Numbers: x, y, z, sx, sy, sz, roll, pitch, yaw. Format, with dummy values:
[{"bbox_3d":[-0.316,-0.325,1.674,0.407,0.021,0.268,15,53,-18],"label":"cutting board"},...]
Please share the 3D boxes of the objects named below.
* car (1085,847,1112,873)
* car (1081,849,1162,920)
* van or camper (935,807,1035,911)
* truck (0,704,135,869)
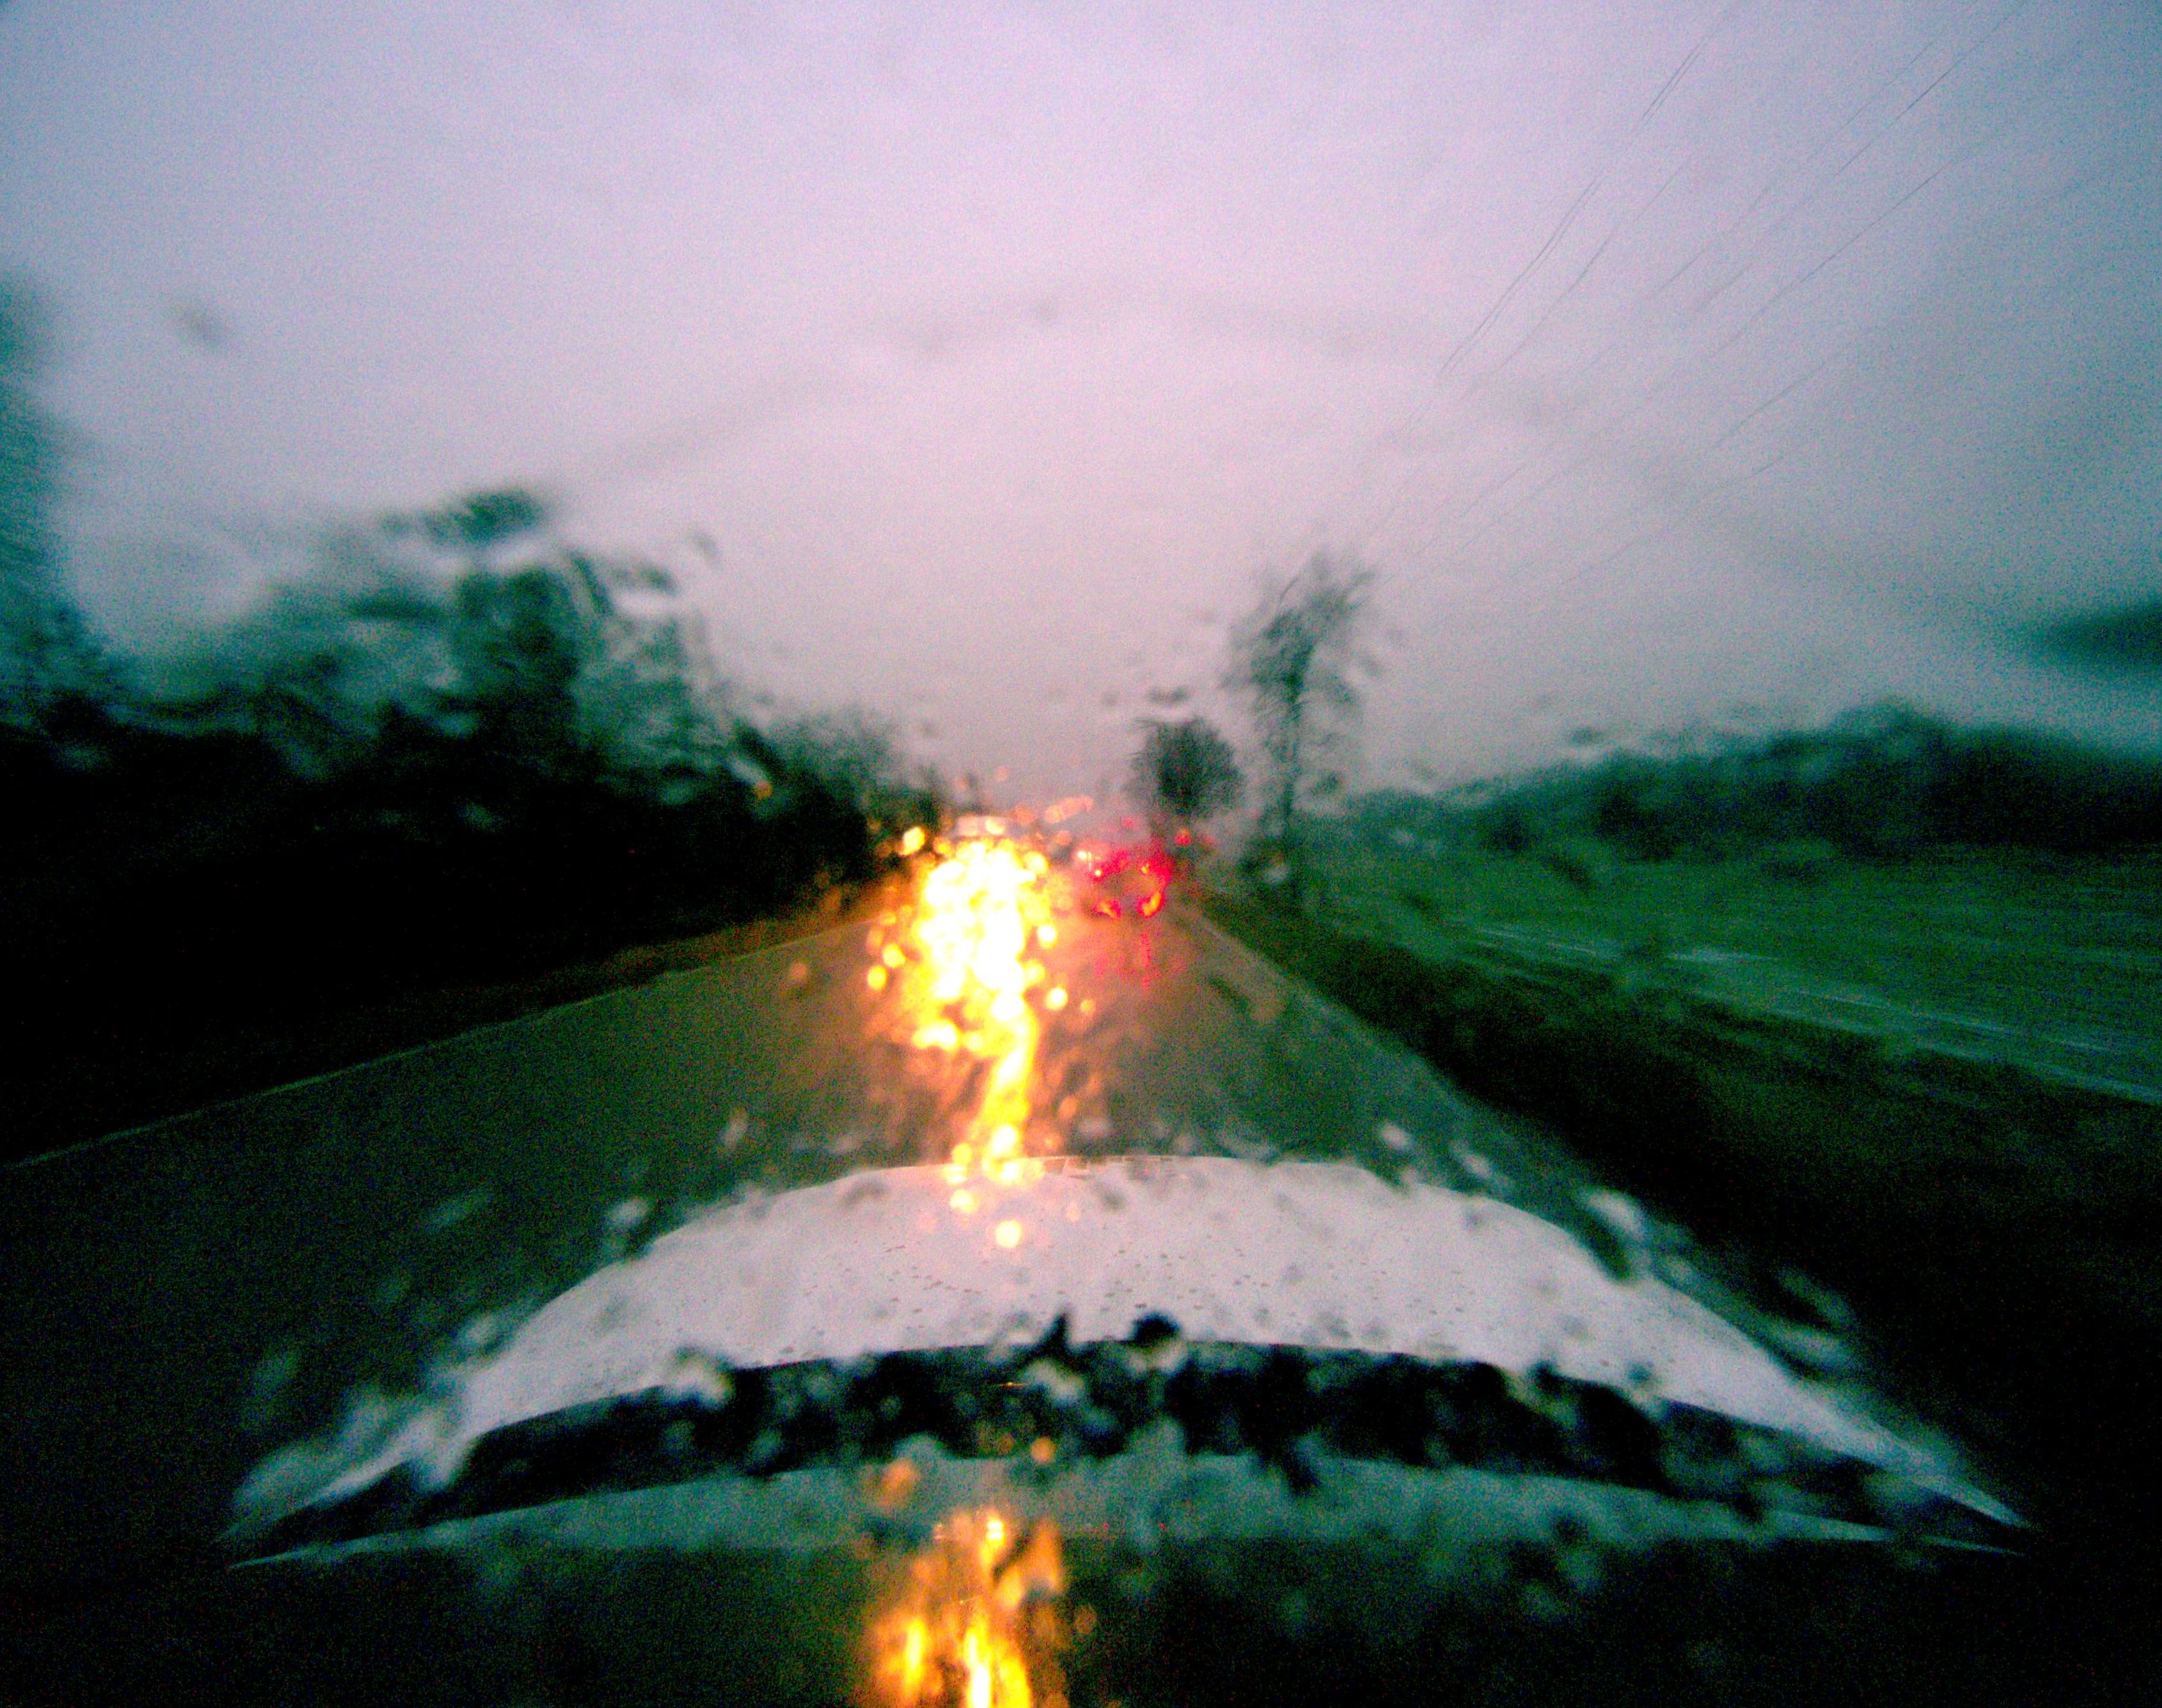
[{"bbox_3d":[1.429,0.468,66.105,1.985,2.013,4.003,-2,0,3],"label":"car"},{"bbox_3d":[1.075,0.774,22.413,1.986,1.752,4.001,-1,0,1],"label":"car"},{"bbox_3d":[-2.787,0.145,25.451,2.013,2.776,6.746,-2,0,2],"label":"van or camper"},{"bbox_3d":[-25.484,-1.477,17.550,2.981,3.632,6.068,-1,0,1],"label":"truck"}]
